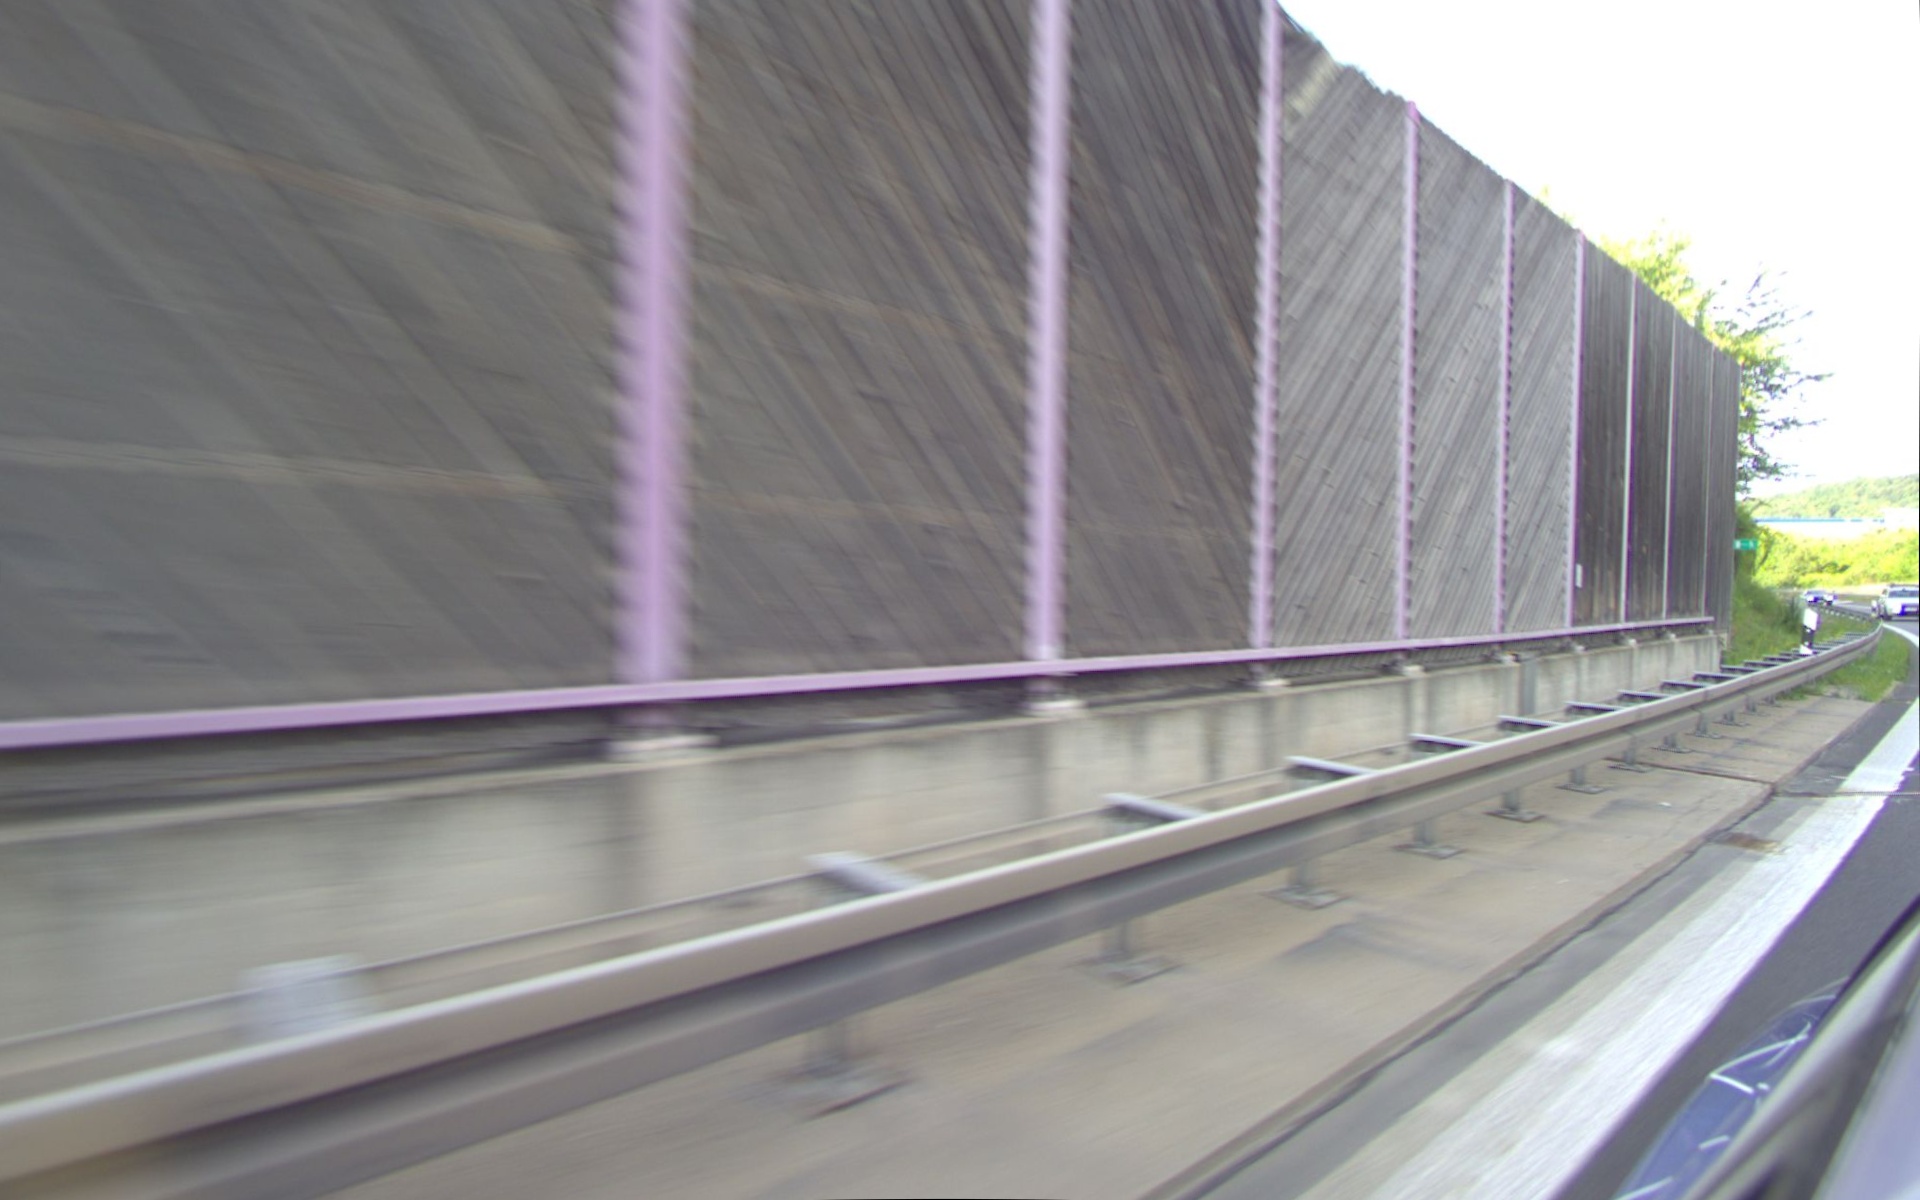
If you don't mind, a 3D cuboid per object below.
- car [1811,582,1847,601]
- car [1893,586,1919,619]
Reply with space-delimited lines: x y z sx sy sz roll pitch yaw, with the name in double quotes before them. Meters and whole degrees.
"car" 75.356 -0.747 87.837 1.606 1.478 3.626 -1 1 29
"car" 50.767 0.109 53.481 1.897 1.686 3.943 -1 0 40
